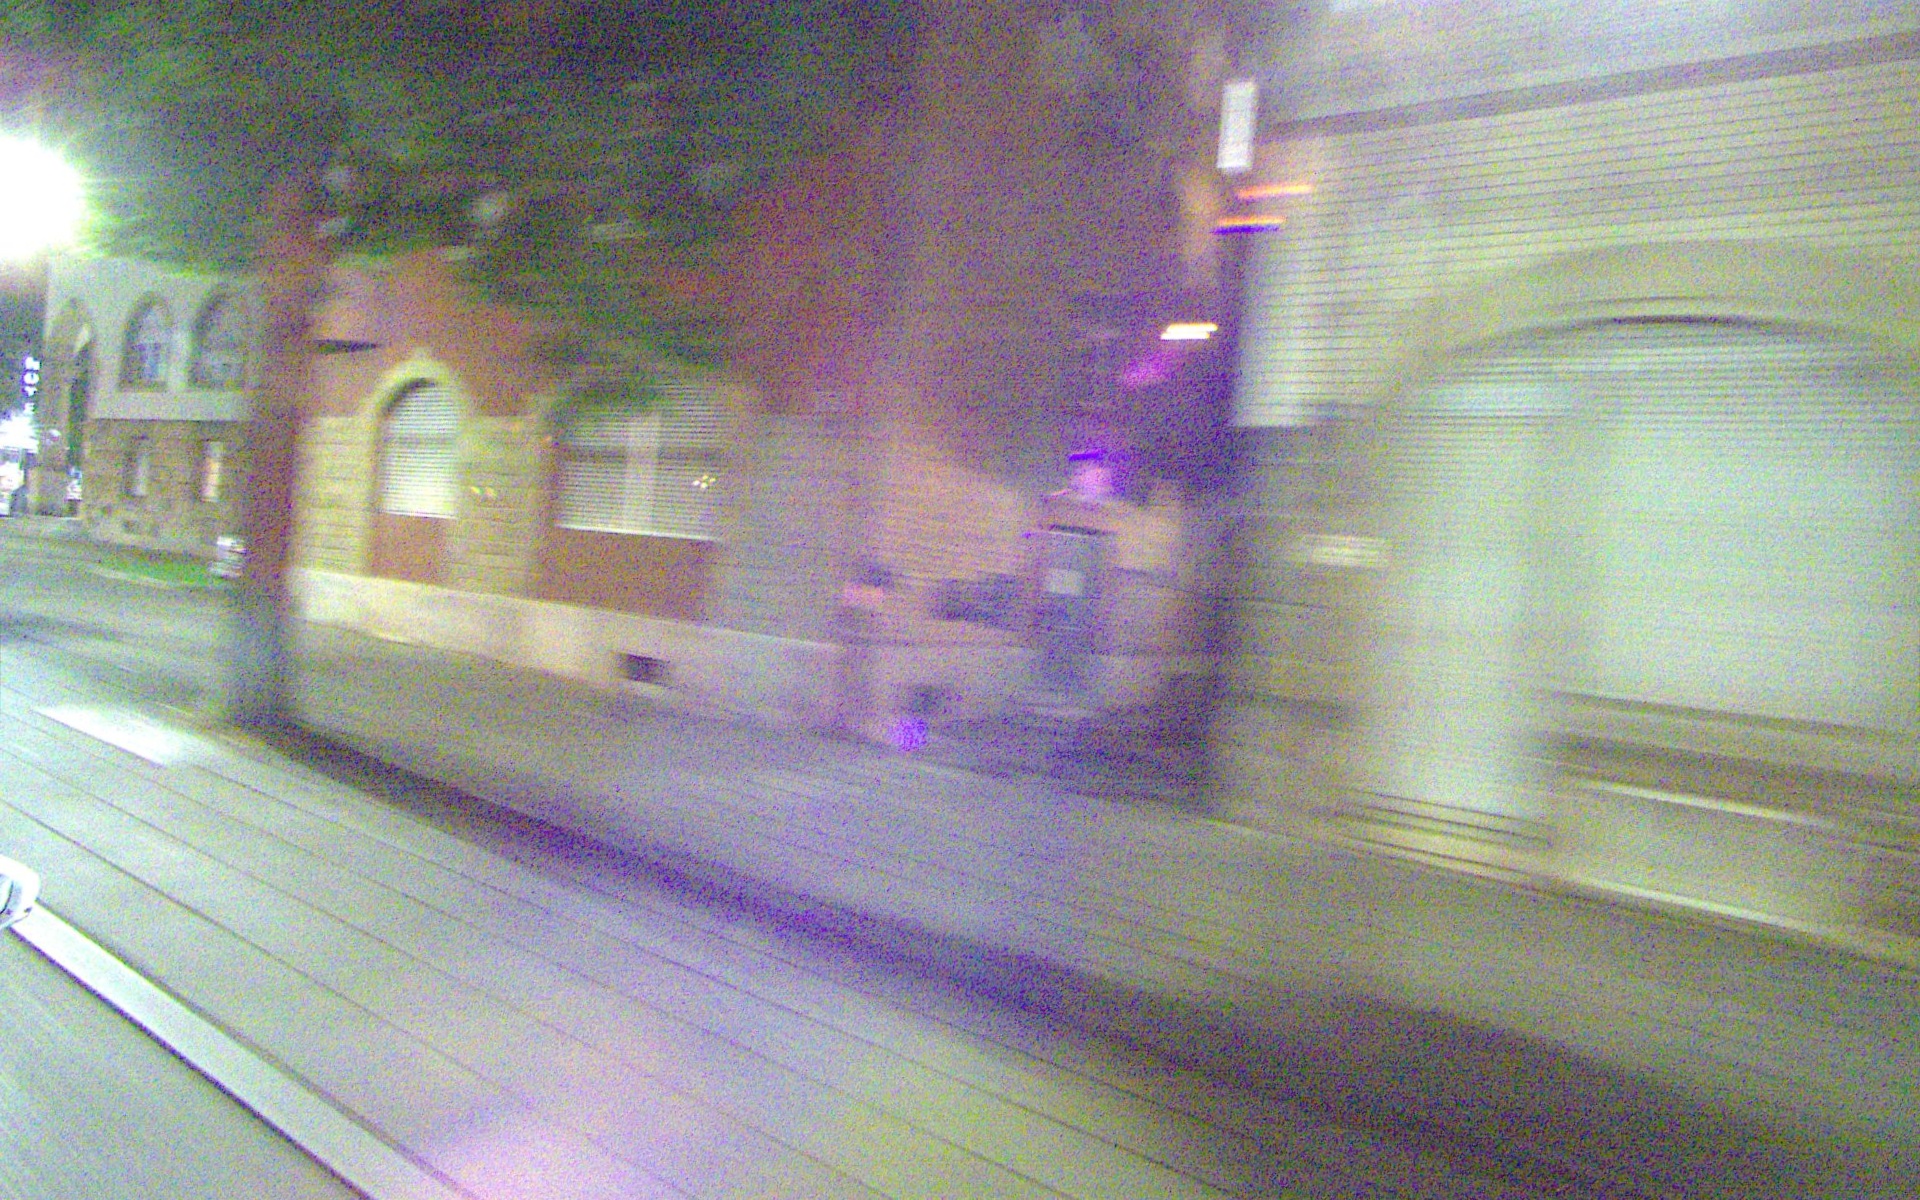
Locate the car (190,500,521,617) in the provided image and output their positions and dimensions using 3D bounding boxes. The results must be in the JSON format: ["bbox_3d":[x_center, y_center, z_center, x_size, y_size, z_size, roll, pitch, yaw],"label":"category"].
[{"bbox_3d":[-10.064,-0.625,17.088,1.761,1.479,4.424,8,2,36],"label":"car"}]
